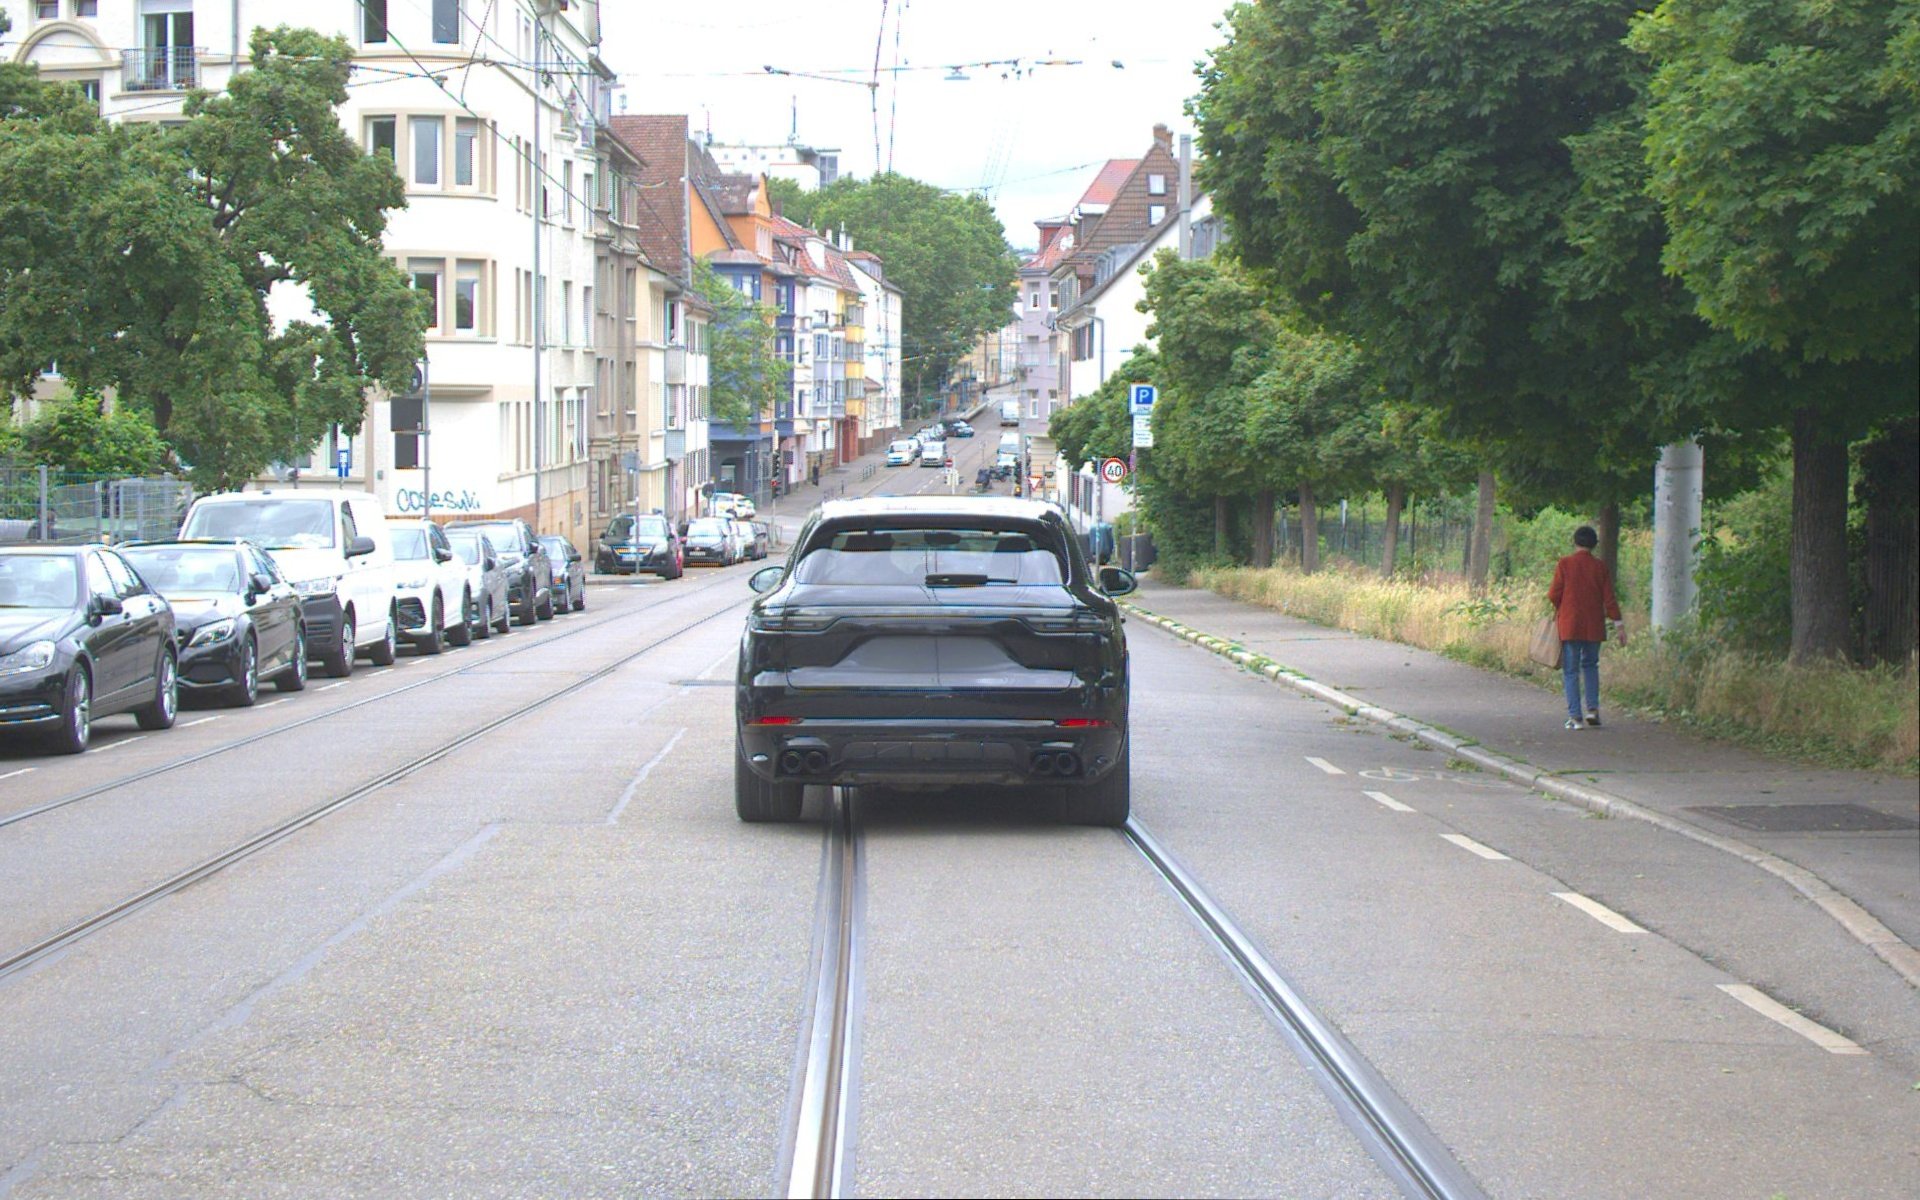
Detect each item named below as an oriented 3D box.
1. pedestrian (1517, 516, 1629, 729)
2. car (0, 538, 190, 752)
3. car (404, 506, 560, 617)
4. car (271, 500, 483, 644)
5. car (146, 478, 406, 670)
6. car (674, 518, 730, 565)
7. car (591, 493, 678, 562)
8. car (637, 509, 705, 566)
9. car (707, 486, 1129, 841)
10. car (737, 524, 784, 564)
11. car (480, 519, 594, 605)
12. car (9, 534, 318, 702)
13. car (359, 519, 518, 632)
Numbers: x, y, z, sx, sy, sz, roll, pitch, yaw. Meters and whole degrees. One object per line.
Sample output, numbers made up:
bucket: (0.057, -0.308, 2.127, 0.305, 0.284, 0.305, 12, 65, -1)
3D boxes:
pedestrian: (4.722, 0.164, 26.522, 0.715, 1.615, 0.719, 1, 1, 0)
car: (-6.811, 0.280, 24.361, 1.840, 1.382, 4.440, 0, 0, -2)
car: (-7.503, -0.594, 54.319, 1.969, 1.681, 4.445, 0, 0, -2)
car: (-7.145, -0.341, 42.562, 1.969, 1.681, 4.633, 0, 0, -2)
car: (-7.219, -0.276, 36.746, 1.969, 1.906, 4.735, 0, 0, -2)
car: (-8.235, -1.858, 110.102, 1.620, 1.458, 4.033, 0, 0, -2)
car: (-8.065, -1.779, 85.423, 1.867, 1.640, 4.402, 0, 0, -2)
car: (-7.673, -1.645, 91.555, 1.620, 1.458, 3.746, 0, 0, -2)
car: (-0.232, 0.269, 18.360, 1.993, 1.670, 4.000, 1, 1, -1)
car: (-7.505, -2.103, 129.490, 1.620, 1.468, 4.556, 0, 0, -2)
car: (-7.441, -0.660, 60.758, 1.620, 1.472, 4.157, 0, 0, -2)
car: (-7.018, 0.136, 30.743, 1.840, 1.382, 4.518, 0, 0, -2)
car: (-7.233, -0.338, 47.990, 1.738, 1.504, 3.870, 0, 0, -2)
